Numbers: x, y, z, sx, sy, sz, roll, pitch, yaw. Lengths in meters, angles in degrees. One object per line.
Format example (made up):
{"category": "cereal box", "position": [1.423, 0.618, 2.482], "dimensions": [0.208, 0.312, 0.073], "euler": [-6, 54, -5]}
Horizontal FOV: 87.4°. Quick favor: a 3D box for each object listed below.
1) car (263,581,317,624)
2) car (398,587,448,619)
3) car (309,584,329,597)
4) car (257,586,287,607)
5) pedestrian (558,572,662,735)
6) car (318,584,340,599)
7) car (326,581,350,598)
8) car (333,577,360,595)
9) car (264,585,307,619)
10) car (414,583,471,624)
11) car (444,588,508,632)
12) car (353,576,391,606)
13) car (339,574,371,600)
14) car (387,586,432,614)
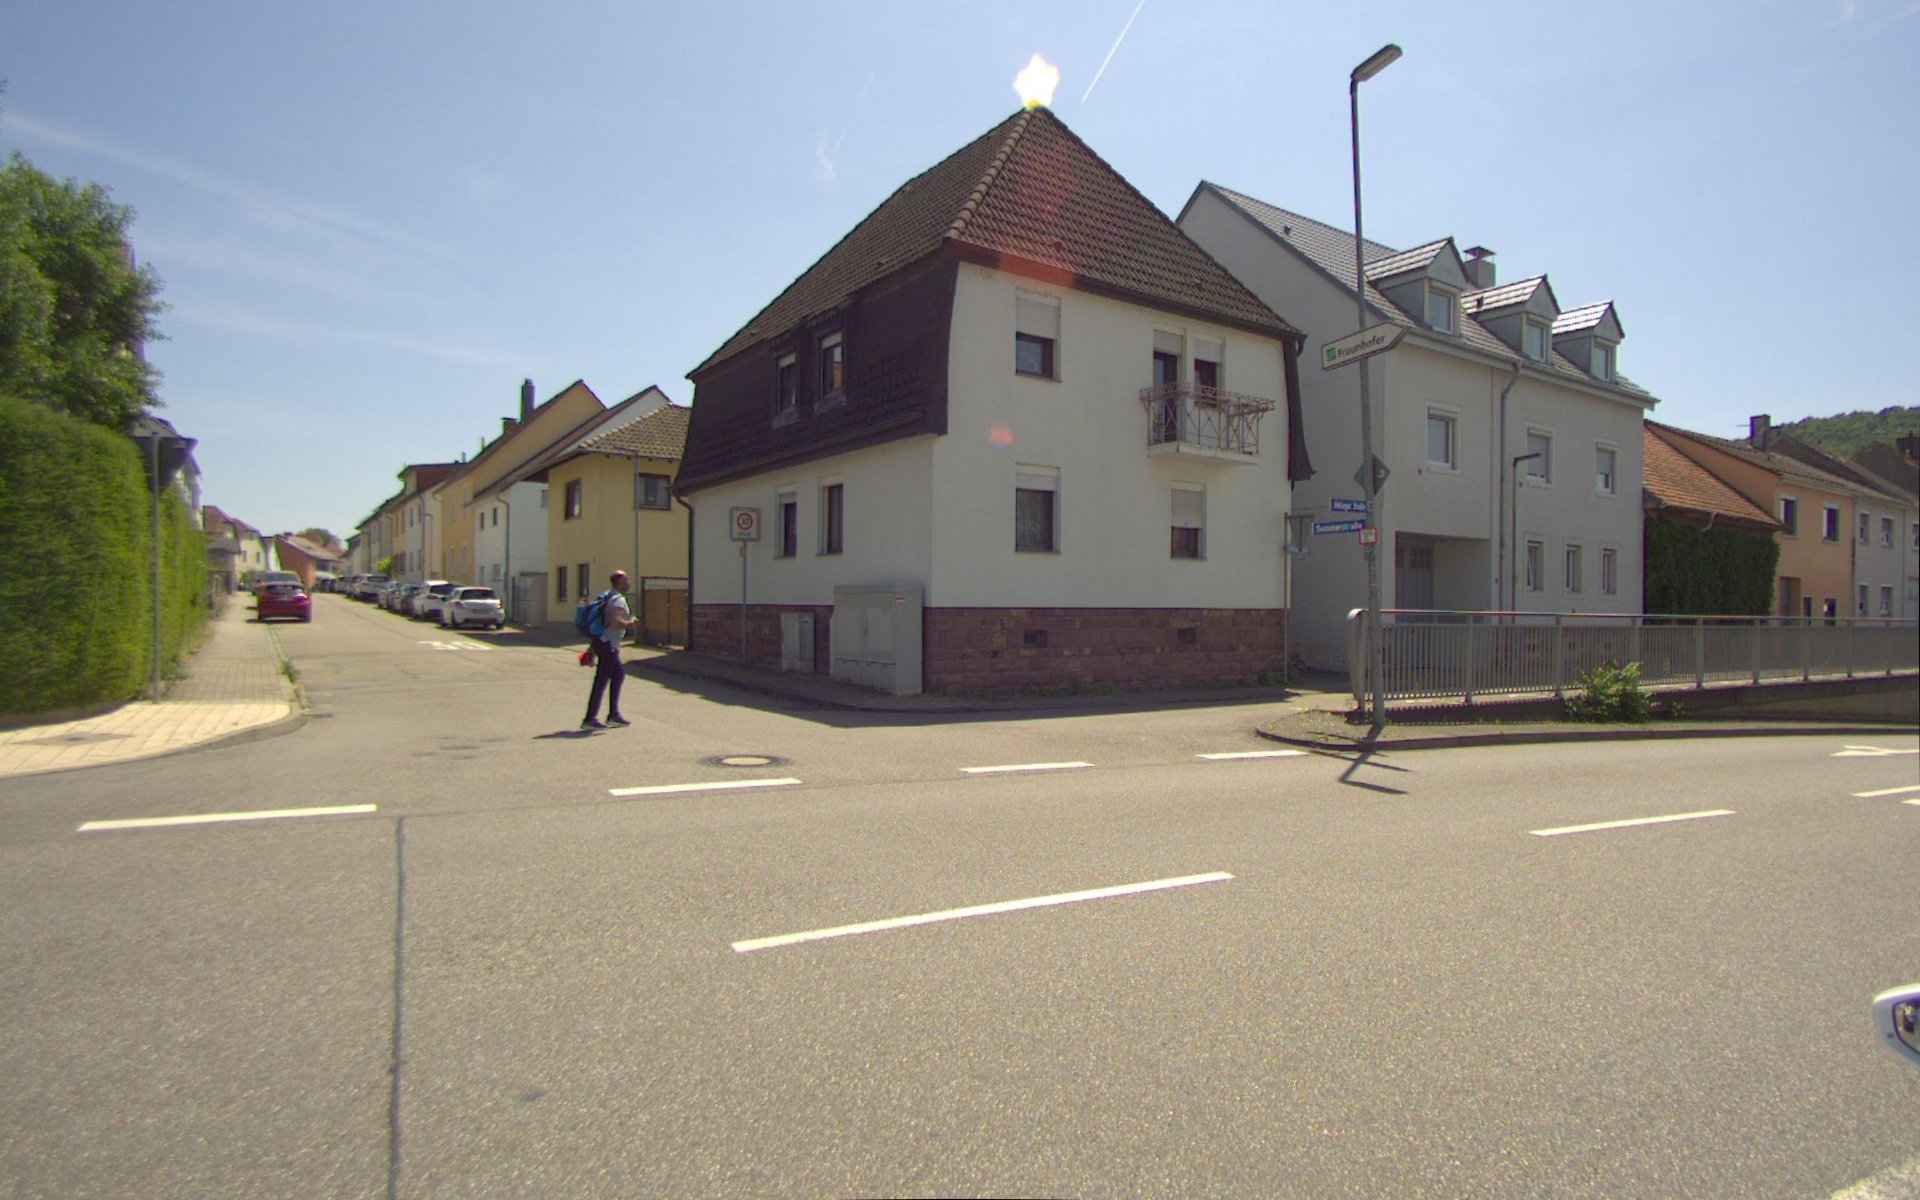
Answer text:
{"category": "car", "position": [-25.534, 0.072, 38.282], "dimensions": [1.599, 1.507, 3.390], "euler": [2, 0, -35]}
{"category": "car", "position": [-25.308, 0.134, 47.301], "dimensions": [1.641, 1.385, 3.636], "euler": [2, 0, -34]}
{"category": "car", "position": [-70.000, -1.016, 109.628], "dimensions": [1.689, 1.381, 3.636], "euler": [2, 0, -35]}
{"category": "car", "position": [-46.280, -0.222, 67.609], "dimensions": [1.599, 1.324, 3.322], "euler": [2, 0, -35]}
{"category": "pedestrian", "position": [-3.931, 0.588, 11.282], "dimensions": [0.848, 1.752, 0.722], "euler": [4, -1, -35]}
{"category": "car", "position": [-62.816, -0.843, 100.023], "dimensions": [1.689, 1.381, 3.636], "euler": [2, 0, -35]}
{"category": "car", "position": [-57.034, -0.966, 92.100], "dimensions": [1.689, 1.381, 3.636], "euler": [2, 0, -35]}
{"category": "car", "position": [-51.065, -1.133, 83.545], "dimensions": [1.689, 1.381, 3.636], "euler": [2, 0, -35]}
{"category": "car", "position": [-32.085, 0.077, 47.793], "dimensions": [1.599, 1.507, 3.390], "euler": [2, 0, -35]}
{"category": "car", "position": [-21.811, 0.135, 42.254], "dimensions": [1.641, 1.596, 3.636], "euler": [2, 0, -34]}
{"category": "car", "position": [-17.775, 0.349, 36.845], "dimensions": [1.641, 1.507, 3.149], "euler": [2, 0, -35]}
{"category": "car", "position": [-36.459, -0.586, 62.248], "dimensions": [1.689, 1.743, 3.636], "euler": [2, 0, -35]}
{"category": "car", "position": [-43.271, -0.918, 71.851], "dimensions": [1.689, 1.743, 3.636], "euler": [2, 0, -35]}
{"category": "car", "position": [-28.462, -0.014, 51.884], "dimensions": [1.641, 1.385, 3.636], "euler": [2, 0, -34]}
